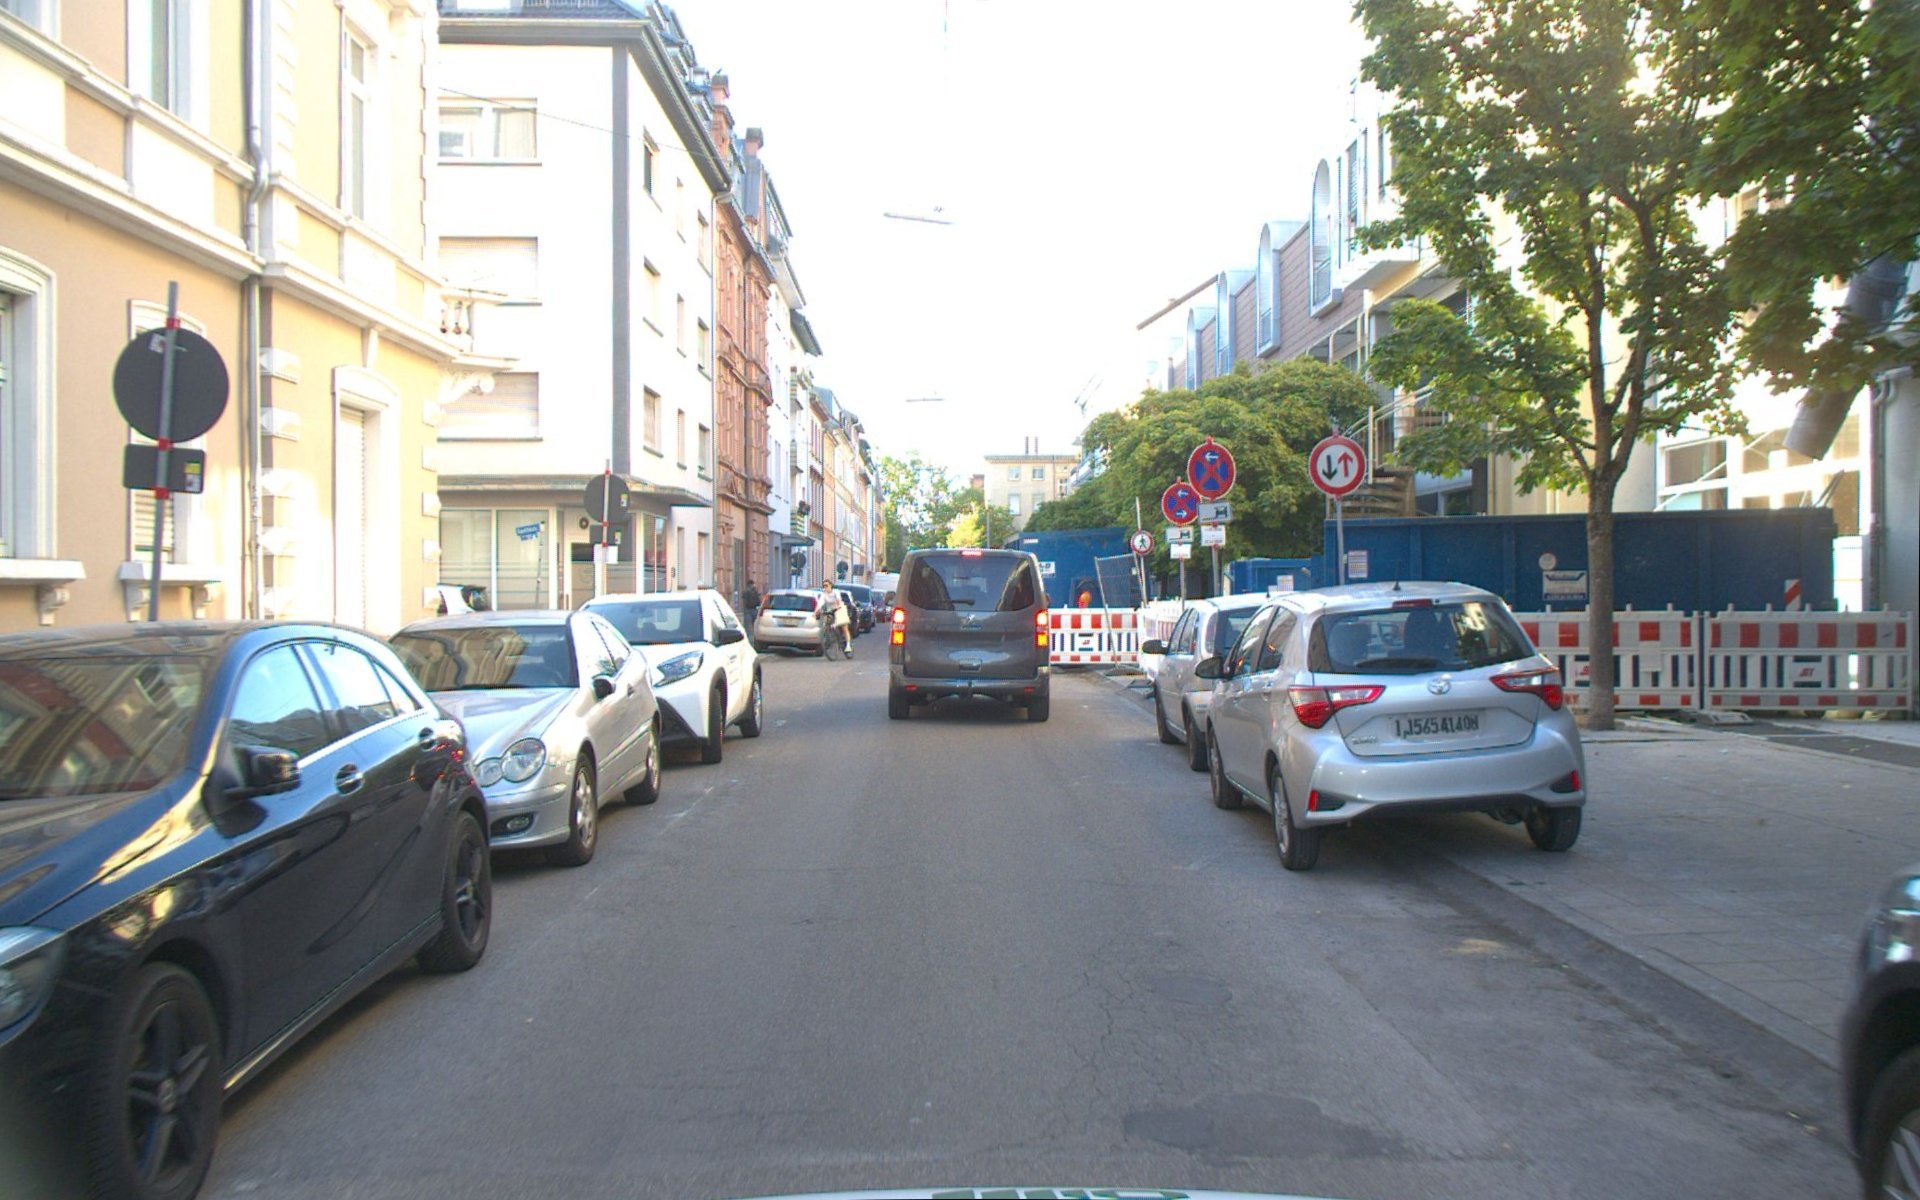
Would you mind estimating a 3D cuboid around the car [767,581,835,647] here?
[{"bbox_3d":[-4.230,0.373,44.263,1.624,1.552,3.415,4,-1,-4],"label":"car"}]

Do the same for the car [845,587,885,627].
[{"bbox_3d":[-4.896,0.364,84.543,1.855,1.878,4.345,4,-1,-4],"label":"car"}]

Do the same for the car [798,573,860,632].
[{"bbox_3d":[-4.356,0.110,55.006,1.855,1.749,3.750,4,-1,-4],"label":"car"}]

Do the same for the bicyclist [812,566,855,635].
[{"bbox_3d":[-2.701,0.016,35.426,0.717,1.437,0.941,1,0,8],"label":"bicyclist"}]

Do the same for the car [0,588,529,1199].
[{"bbox_3d":[-2.781,0.763,5.040,1.882,1.509,4.265,-2,1,-2],"label":"car"}]

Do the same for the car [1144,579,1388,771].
[{"bbox_3d":[2.686,0.605,15.276,1.641,1.501,3.730,-2,0,2],"label":"car"}]

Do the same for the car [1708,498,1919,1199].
[{"bbox_3d":[2.706,0.610,1.626,1.847,1.651,4.433,-2,0,-1],"label":"car"}]

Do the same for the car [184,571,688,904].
[{"bbox_3d":[-2.981,0.669,10.459,1.882,1.587,4.265,-2,1,-2],"label":"car"}]

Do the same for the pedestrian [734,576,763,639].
[{"bbox_3d":[-5.738,0.201,44.861,0.725,1.693,0.703,0,0,-5],"label":"pedestrian"}]

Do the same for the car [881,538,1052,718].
[{"bbox_3d":[0.151,0.319,19.928,1.826,1.919,4.236,1,-1,2],"label":"car"}]

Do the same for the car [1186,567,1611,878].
[{"bbox_3d":[2.540,0.631,10.545,1.642,1.551,3.970,-2,0,0],"label":"car"}]

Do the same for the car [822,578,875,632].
[{"bbox_3d":[-4.365,0.203,64.372,1.855,1.878,4.345,4,-1,-4],"label":"car"}]

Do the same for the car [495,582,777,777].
[{"bbox_3d":[-2.924,0.635,15.864,1.882,1.533,4.266,-2,1,-1],"label":"car"}]

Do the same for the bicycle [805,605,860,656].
[{"bbox_3d":[-2.715,0.629,35.403,0.717,1.045,2.116,1,0,8],"label":"bicycle"}]

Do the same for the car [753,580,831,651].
[{"bbox_3d":[-3.906,0.364,38.943,1.624,1.485,3.415,4,-1,-4],"label":"car"}]

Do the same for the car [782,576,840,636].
[{"bbox_3d":[-4.600,0.193,51.364,1.634,1.694,3.089,4,-1,-4],"label":"car"}]

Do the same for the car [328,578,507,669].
[{"bbox_3d":[-9.909,0.416,30.335,2.729,1.567,1.593,1,0,-1],"label":"car"}]

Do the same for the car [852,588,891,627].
[{"bbox_3d":[-4.817,0.406,89.468,1.855,1.878,4.345,4,-1,-4],"label":"car"}]
